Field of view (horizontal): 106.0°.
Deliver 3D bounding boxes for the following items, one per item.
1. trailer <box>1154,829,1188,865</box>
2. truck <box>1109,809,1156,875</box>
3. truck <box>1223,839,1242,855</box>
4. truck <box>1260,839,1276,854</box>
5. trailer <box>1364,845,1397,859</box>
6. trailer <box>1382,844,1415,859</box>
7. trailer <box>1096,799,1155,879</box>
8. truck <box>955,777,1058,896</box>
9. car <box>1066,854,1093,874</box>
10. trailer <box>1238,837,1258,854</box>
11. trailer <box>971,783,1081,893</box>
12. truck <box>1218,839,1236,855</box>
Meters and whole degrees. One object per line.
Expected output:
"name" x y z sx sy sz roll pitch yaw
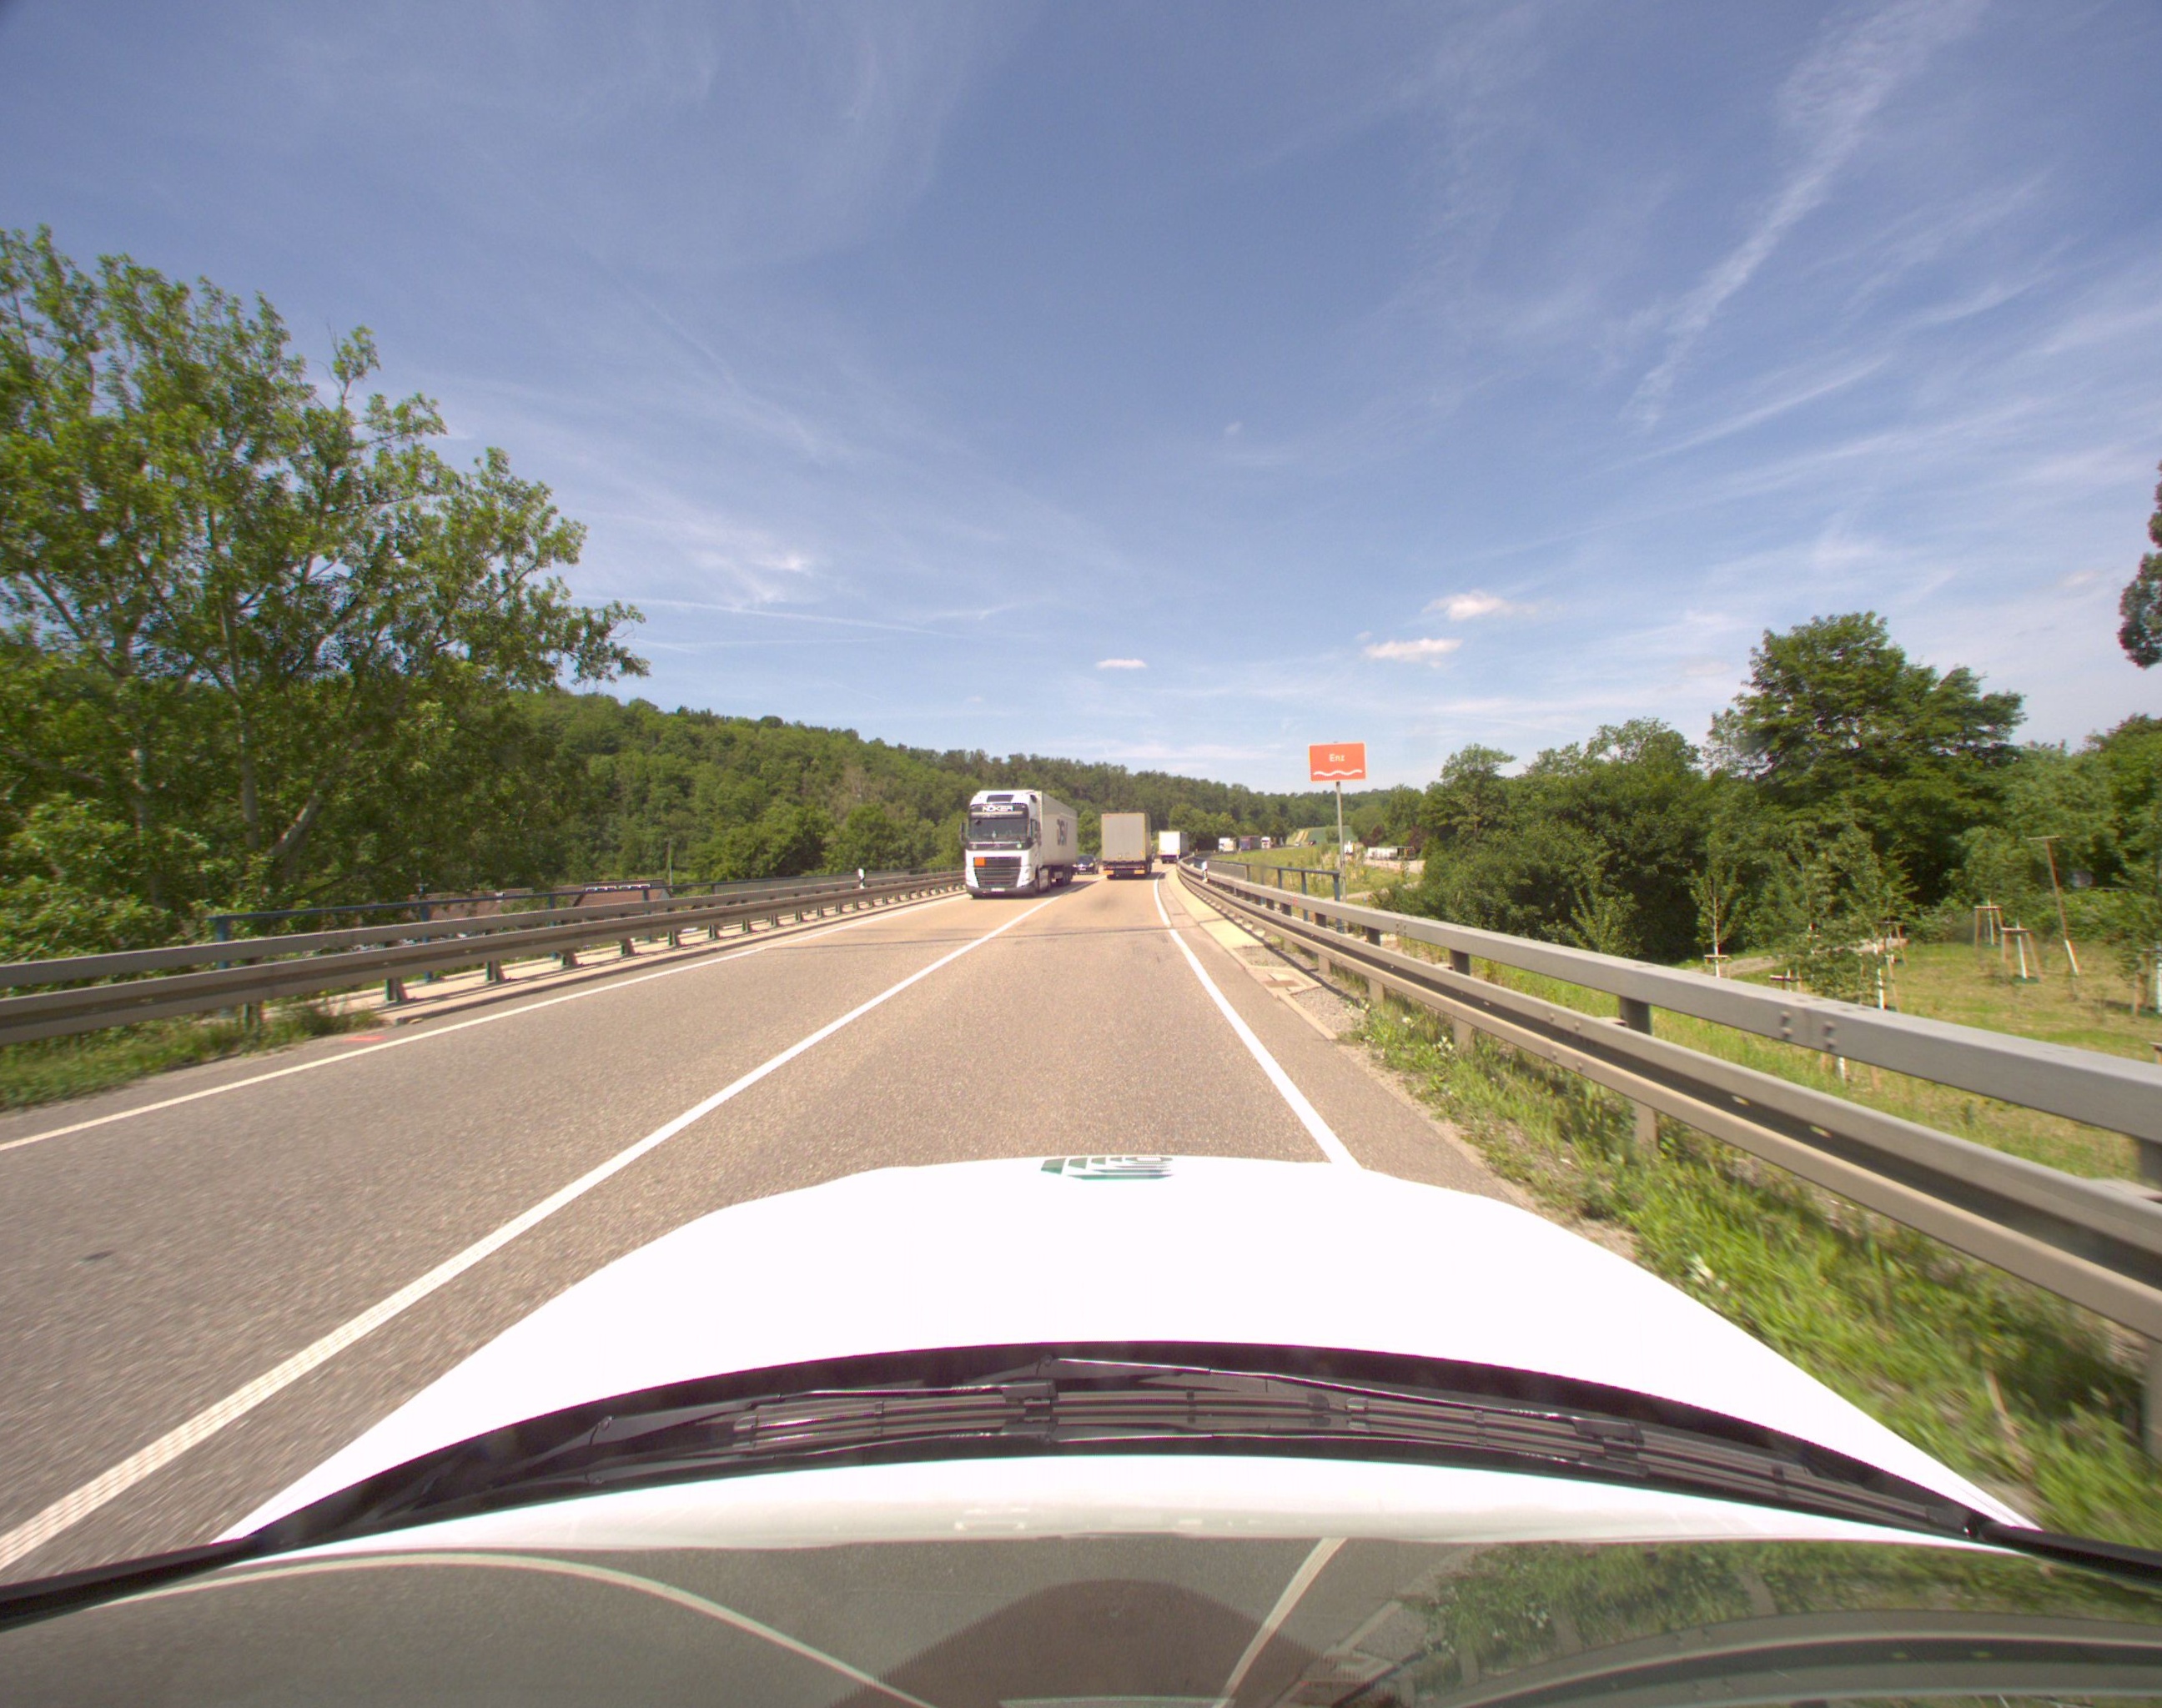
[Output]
"trailer" 11.791 -0.898 105.098 3.344 4.317 13.904 -1 0 10
"truck" 3.880 -0.842 60.106 3.103 4.494 6.822 -1 0 6
"truck" 34.577 -1.540 185.767 3.198 3.365 11.924 -1 0 16
"truck" 57.341 -2.323 249.661 3.034 4.262 9.920 -1 0 22
"trailer" 79.012 -0.565 215.307 2.718 3.327 11.858 -1 1 -9
"trailer" 82.529 -0.689 212.135 2.716 3.606 11.866 0 1 -7
"trailer" 3.169 -0.826 53.158 3.102 4.500 13.908 -1 0 6
"truck" -2.721 -0.597 31.743 2.833 4.160 6.339 -1 0 5
"car" -0.085 0.715 61.757 1.654 1.457 3.899 -1 0 4
"trailer" 42.439 -2.115 206.514 3.618 4.262 12.252 -1 0 18
"trailer" -2.118 -0.574 38.394 2.839 4.188 14.517 -1 0 5
"truck" 36.025 -1.827 200.849 2.891 3.803 9.754 -1 1 18
